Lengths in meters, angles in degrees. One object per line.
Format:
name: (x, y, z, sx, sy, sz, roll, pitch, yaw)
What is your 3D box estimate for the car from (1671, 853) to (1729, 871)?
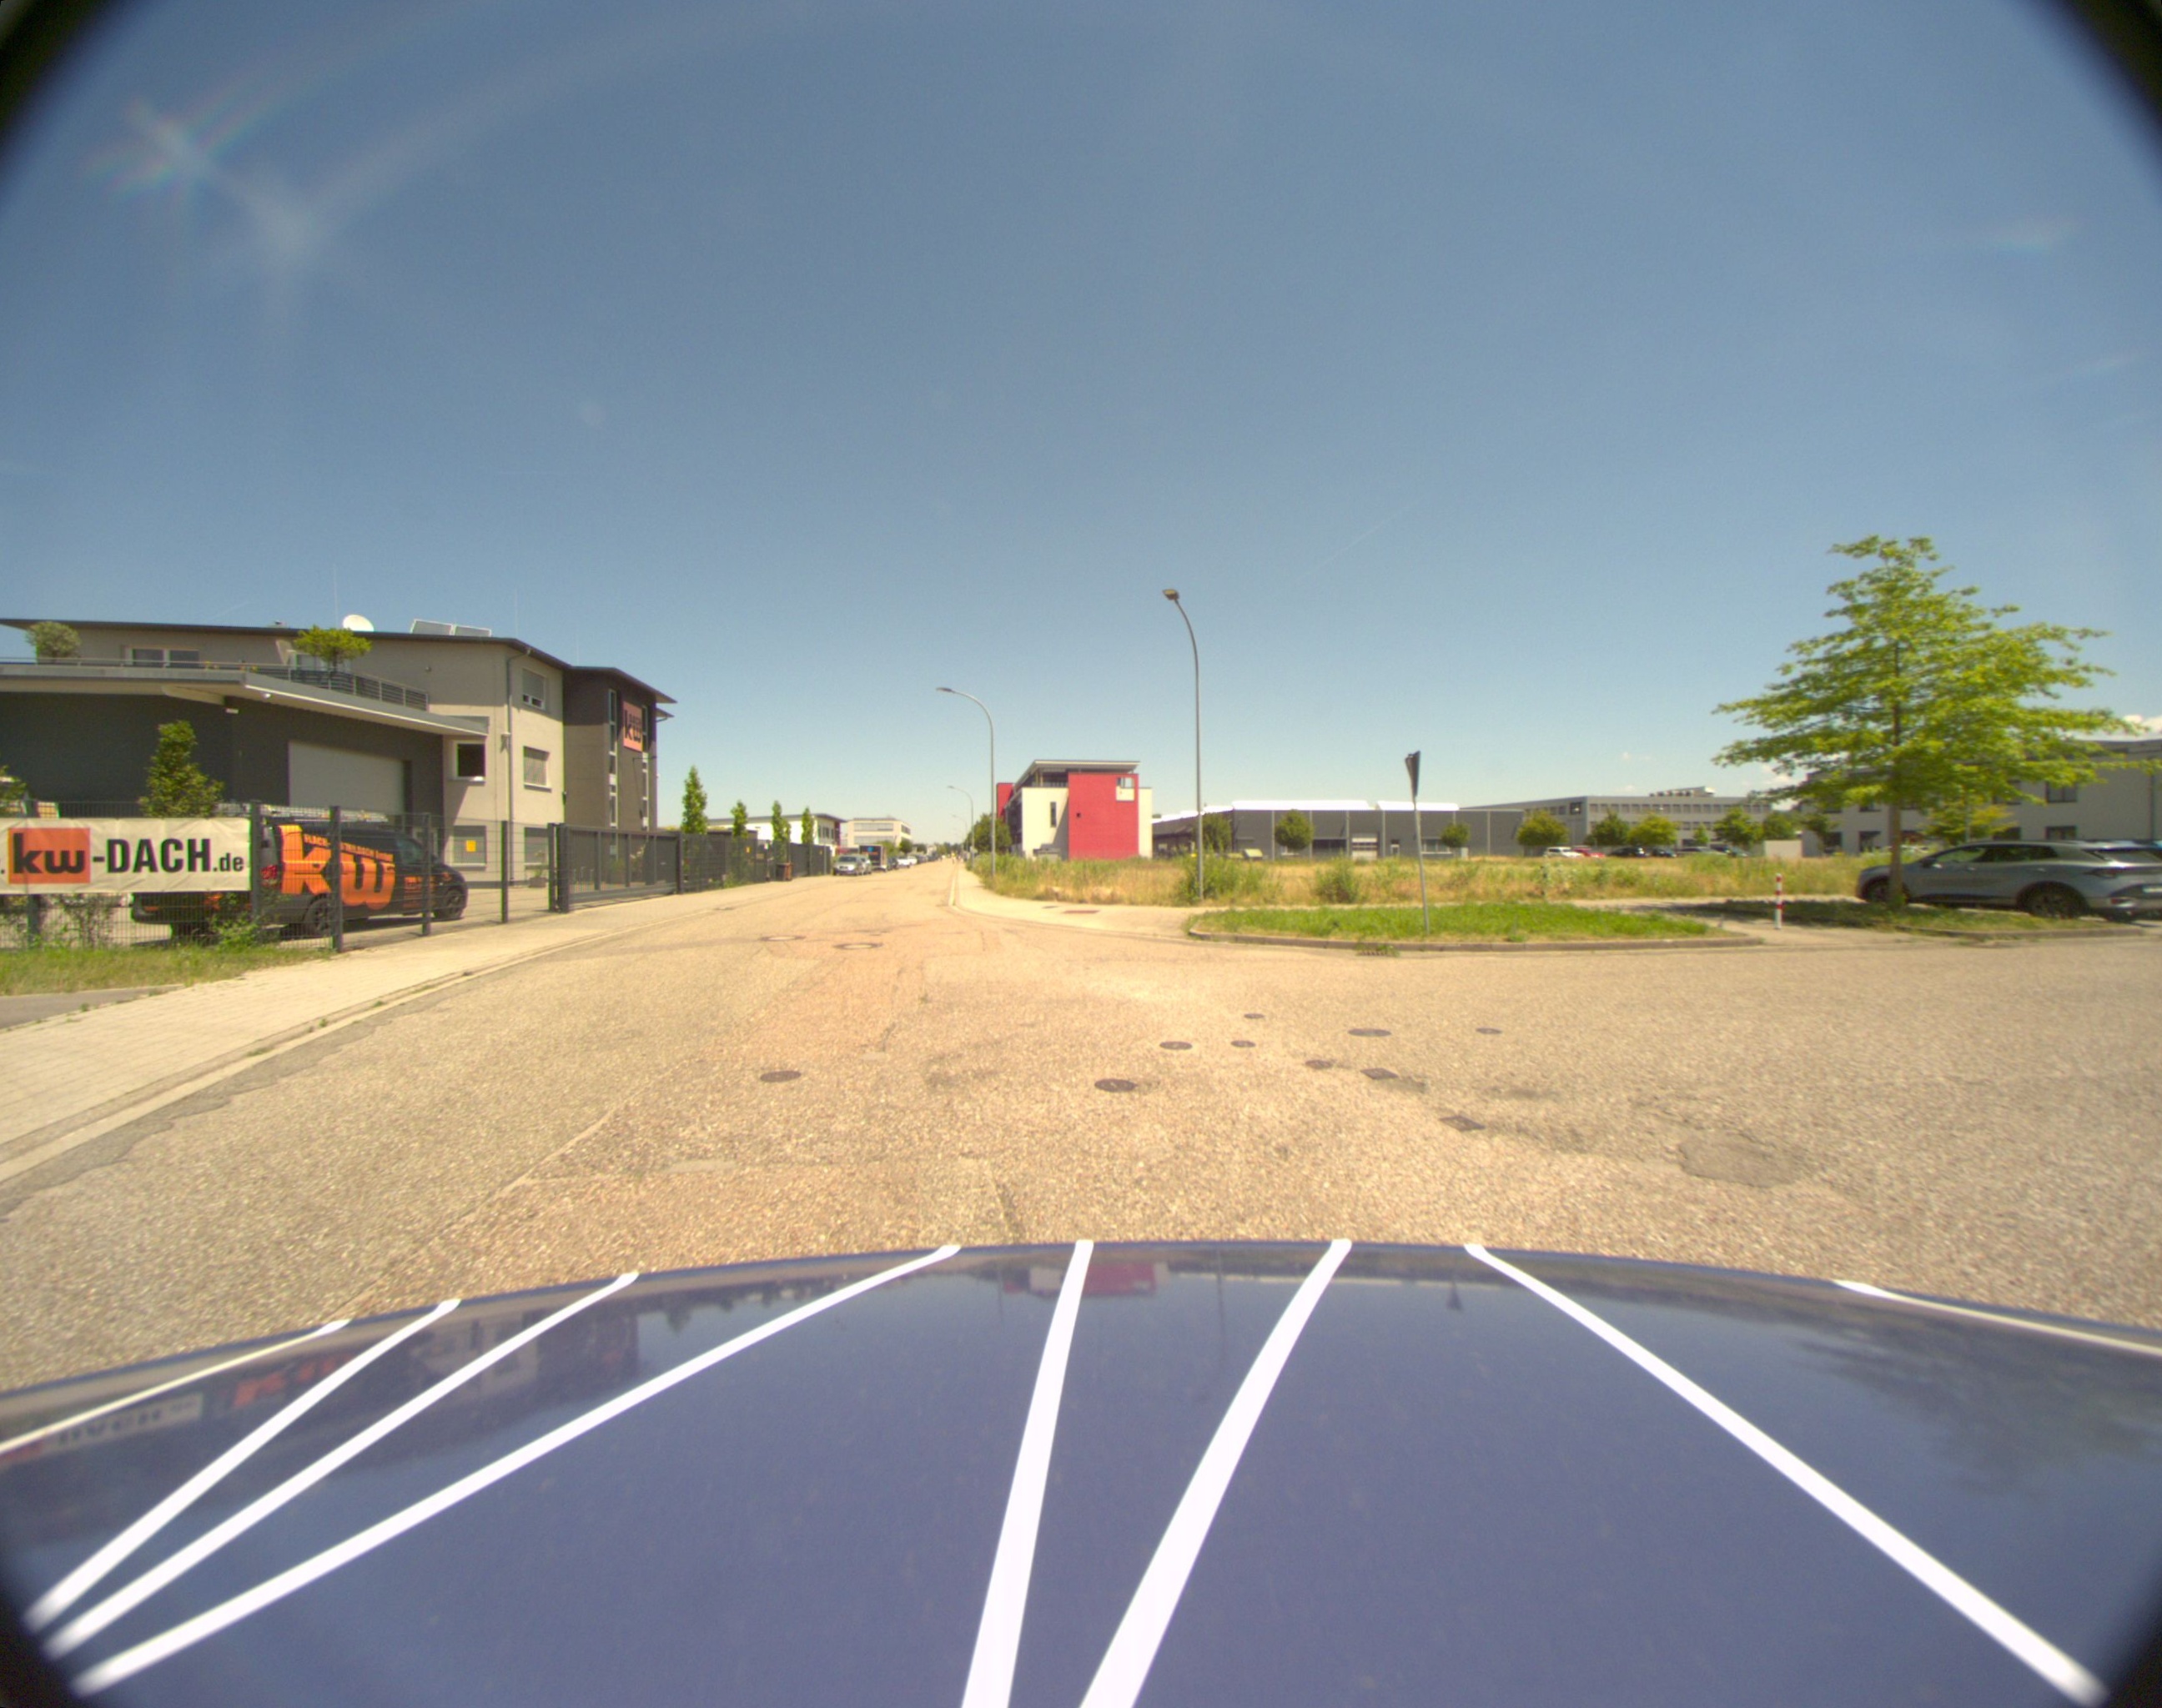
car: (59.817, 0.748, 73.510, 2.000, 1.739, 3.996, 1, 0, -11)

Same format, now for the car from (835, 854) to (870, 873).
car: (-16.124, 0.659, 53.728, 1.830, 1.269, 3.883, 1, 0, -8)

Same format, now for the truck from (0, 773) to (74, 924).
truck: (-27.069, -0.100, 15.191, 8.973, 3.158, 2.687, 0, 1, -9)

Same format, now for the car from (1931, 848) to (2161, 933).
car: (22.219, 0.711, 16.727, 1.958, 1.688, 4.305, -1, 0, -7)

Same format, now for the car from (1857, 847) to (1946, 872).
car: (60.199, 0.366, 55.855, 2.000, 1.739, 3.996, 1, 0, -10)

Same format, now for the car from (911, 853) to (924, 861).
car: (-28.489, 0.562, 132.515, 1.830, 1.269, 3.883, 1, 0, -8)

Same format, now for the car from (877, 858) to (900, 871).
car: (-19.164, 1.014, 75.914, 1.830, 1.269, 3.883, 1, 0, -8)

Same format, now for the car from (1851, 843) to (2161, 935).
car: (19.642, 0.622, 16.140, 1.958, 1.688, 4.305, -1, 0, -7)

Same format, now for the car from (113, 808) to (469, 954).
car: (-13.609, 0.382, 13.663, 1.921, 2.149, 4.775, 0, 0, -9)

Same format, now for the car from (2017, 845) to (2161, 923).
car: (24.631, 0.656, 16.968, 1.958, 1.688, 4.305, -1, 0, -7)

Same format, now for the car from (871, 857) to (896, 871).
car: (-18.513, 0.940, 71.286, 1.830, 1.269, 3.883, 1, 0, -8)

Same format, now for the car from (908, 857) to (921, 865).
car: (-27.731, 1.165, 126.578, 1.830, 1.269, 3.883, 1, 0, -8)

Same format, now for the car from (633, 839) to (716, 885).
car: (-17.112, 0.313, 32.205, 1.930, 1.784, 3.996, 1, 0, -10)

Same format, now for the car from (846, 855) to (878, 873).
car: (-16.814, 0.736, 58.516, 1.830, 1.269, 3.883, 1, 0, -8)

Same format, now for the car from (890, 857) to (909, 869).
car: (-20.650, 1.034, 86.600, 1.830, 1.269, 3.883, 1, 0, -8)
